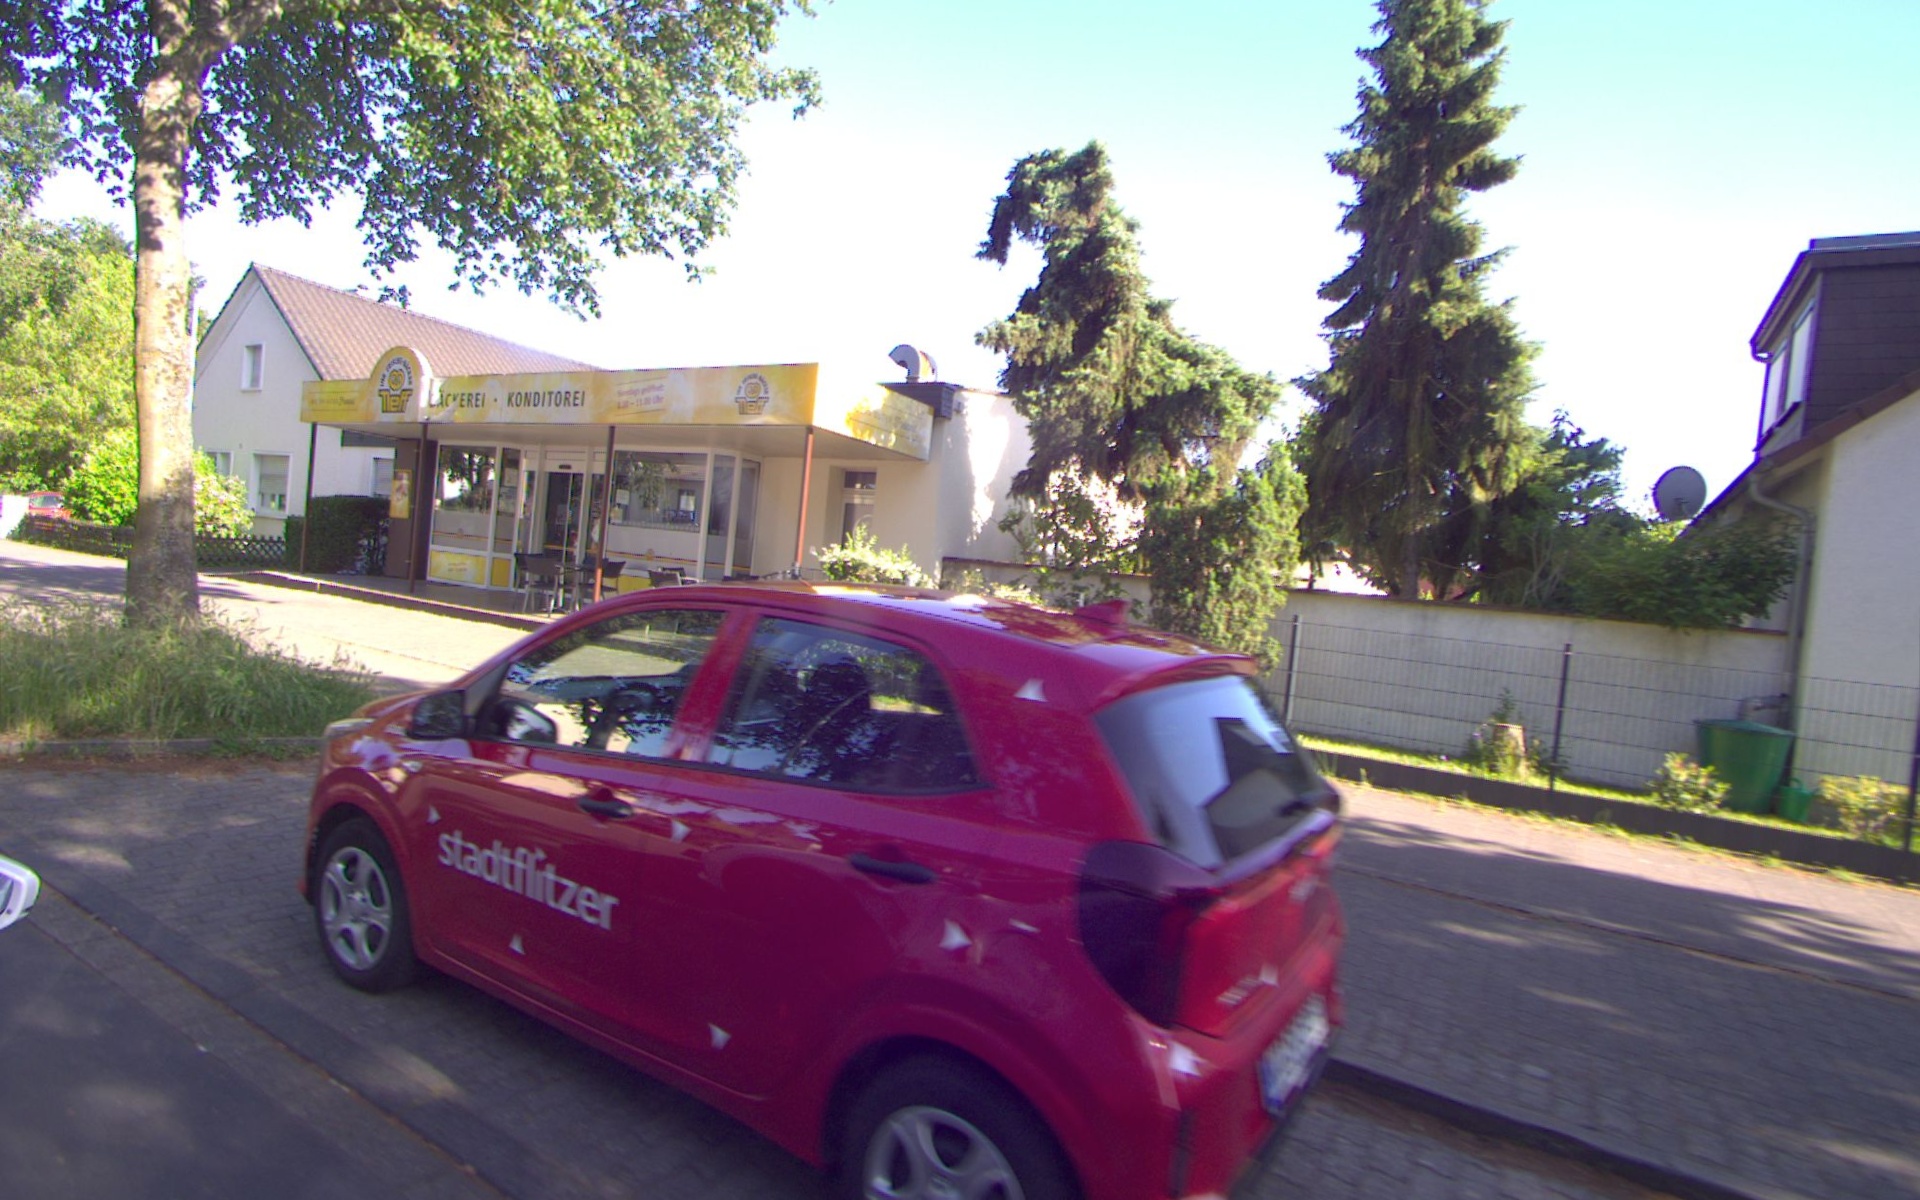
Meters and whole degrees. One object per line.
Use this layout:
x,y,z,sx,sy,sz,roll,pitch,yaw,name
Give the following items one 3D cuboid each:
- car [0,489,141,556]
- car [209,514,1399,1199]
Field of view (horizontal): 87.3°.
-29.697,-2.585,32.672,1.967,1.629,4.292,8,0,32,car
-0.762,0.612,3.457,3.825,1.499,1.696,6,3,33,car
